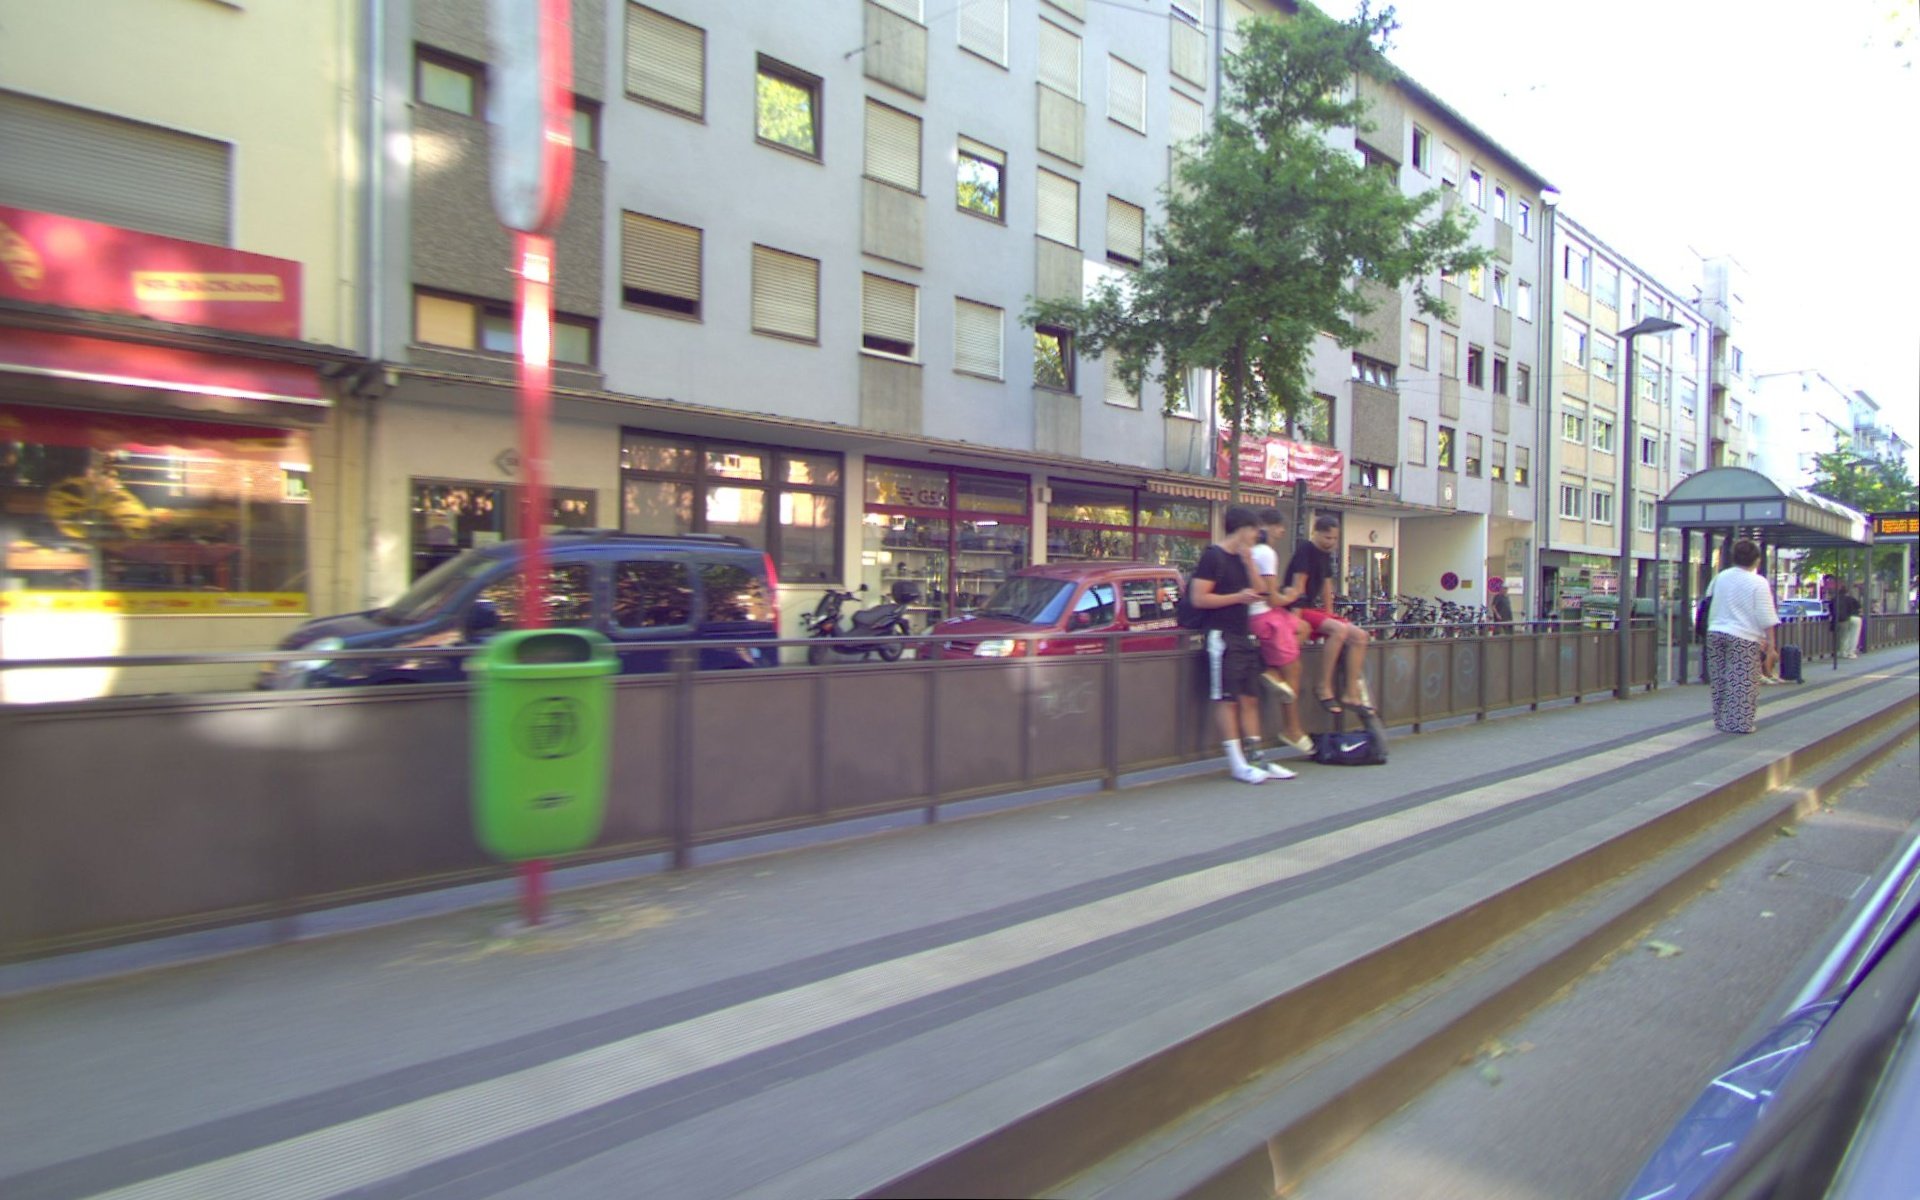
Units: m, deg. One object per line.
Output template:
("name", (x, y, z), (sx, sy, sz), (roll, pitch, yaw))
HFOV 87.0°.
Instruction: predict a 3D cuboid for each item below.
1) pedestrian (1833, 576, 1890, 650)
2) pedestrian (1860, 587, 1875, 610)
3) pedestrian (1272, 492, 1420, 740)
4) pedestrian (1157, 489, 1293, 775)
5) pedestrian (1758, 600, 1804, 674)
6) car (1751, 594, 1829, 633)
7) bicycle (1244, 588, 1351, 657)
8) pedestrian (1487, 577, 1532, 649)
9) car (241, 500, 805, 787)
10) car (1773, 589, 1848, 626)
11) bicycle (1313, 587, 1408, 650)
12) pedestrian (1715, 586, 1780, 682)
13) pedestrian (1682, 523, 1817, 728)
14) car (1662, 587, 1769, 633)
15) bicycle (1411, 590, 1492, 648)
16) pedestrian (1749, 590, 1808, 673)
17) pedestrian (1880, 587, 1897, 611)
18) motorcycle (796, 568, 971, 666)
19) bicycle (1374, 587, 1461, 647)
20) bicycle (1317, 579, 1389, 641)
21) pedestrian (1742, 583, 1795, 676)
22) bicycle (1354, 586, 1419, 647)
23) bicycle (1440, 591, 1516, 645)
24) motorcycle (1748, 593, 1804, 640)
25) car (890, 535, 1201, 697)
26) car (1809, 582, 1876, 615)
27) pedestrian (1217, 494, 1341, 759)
("pedestrian", (20.038, 0.278, 22.496), (0.836, 1.596, 0.650), (0, 0, -23))
("pedestrian", (66.530, -0.088, 74.200), (0.954, 1.675, 0.751), (0, 0, -42))
("pedestrian", (2.886, 0.109, 7.572), (0.844, 1.722, 0.682), (0, 0, 43))
("pedestrian", (1.762, 0.195, 6.733), (0.687, 1.777, 0.571), (0, 0, 43))
("pedestrian", (12.093, 0.532, 14.914), (0.519, 1.069, 0.420), (0, 0, 39))
("car", (34.421, 0.515, 41.943), (3.930, 1.505, 1.897), (0, 0, -41))
("bicycle", (6.602, 0.395, 19.697), (0.772, 1.194, 2.738), (6, 5, 44))
("pedestrian", (14.399, 0.332, 26.539), (0.666, 1.827, 0.775), (-1, 1, -16))
("car", (-3.692, 0.222, 8.853), (4.118, 1.918, 1.999), (0, 4, -39))
("car", (38.404, 0.291, 45.686), (3.930, 1.601, 1.997), (0, 0, -41))
("bicycle", (8.510, 0.366, 21.421), (0.772, 1.194, 2.738), (8, 6, 44))
("pedestrian", (11.287, 0.471, 14.515), (0.717, 1.343, 0.486), (0, 0, 39))
("pedestrian", (7.057, 0.211, 9.056), (0.628, 1.734, 0.835), (0, 0, -39))
("car", (26.514, 0.315, 35.472), (4.576, 1.502, 1.957), (0, 0, -39))
("bicycle", (11.486, 0.441, 23.585), (0.772, 1.194, 2.738), (8, 5, 44))
("pedestrian", (12.389, 0.458, 15.326), (0.677, 1.220, 0.640), (0, 0, 39))
("pedestrian", (64.373, -0.053, 70.155), (0.954, 1.675, 0.751), (0, 0, -42))
("motorcycle", (-1.121, 0.239, 15.463), (2.605, 1.333, 0.953), (1, 3, -43))
("bicycle", (10.261, 0.382, 22.643), (0.772, 1.194, 2.738), (8, 5, 44))
("bicycle", (8.666, 0.198, 22.231), (0.769, 1.194, 2.749), (7, 4, 34))
("pedestrian", (11.761, 0.414, 14.737), (0.583, 1.322, 0.519), (-1, -1, 39))
("bicycle", (9.394, 0.328, 22.219), (0.768, 1.194, 2.750), (7, 4, 32))
("bicycle", (12.881, 0.446, 25.118), (0.772, 1.194, 2.738), (8, 5, 44))
("motorcycle", (26.400, 0.506, 32.722), (2.170, 1.473, 1.054), (0, 0, -41))
("car", (1.226, 0.160, 13.090), (4.103, 1.777, 1.690), (0, 0, -42))
("car", (43.698, -0.089, 50.096), (3.930, 1.612, 1.997), (0, 0, -41))
("pedestrian", (2.268, 0.173, 7.216), (0.689, 1.792, 0.495), (0, 0, -26))
